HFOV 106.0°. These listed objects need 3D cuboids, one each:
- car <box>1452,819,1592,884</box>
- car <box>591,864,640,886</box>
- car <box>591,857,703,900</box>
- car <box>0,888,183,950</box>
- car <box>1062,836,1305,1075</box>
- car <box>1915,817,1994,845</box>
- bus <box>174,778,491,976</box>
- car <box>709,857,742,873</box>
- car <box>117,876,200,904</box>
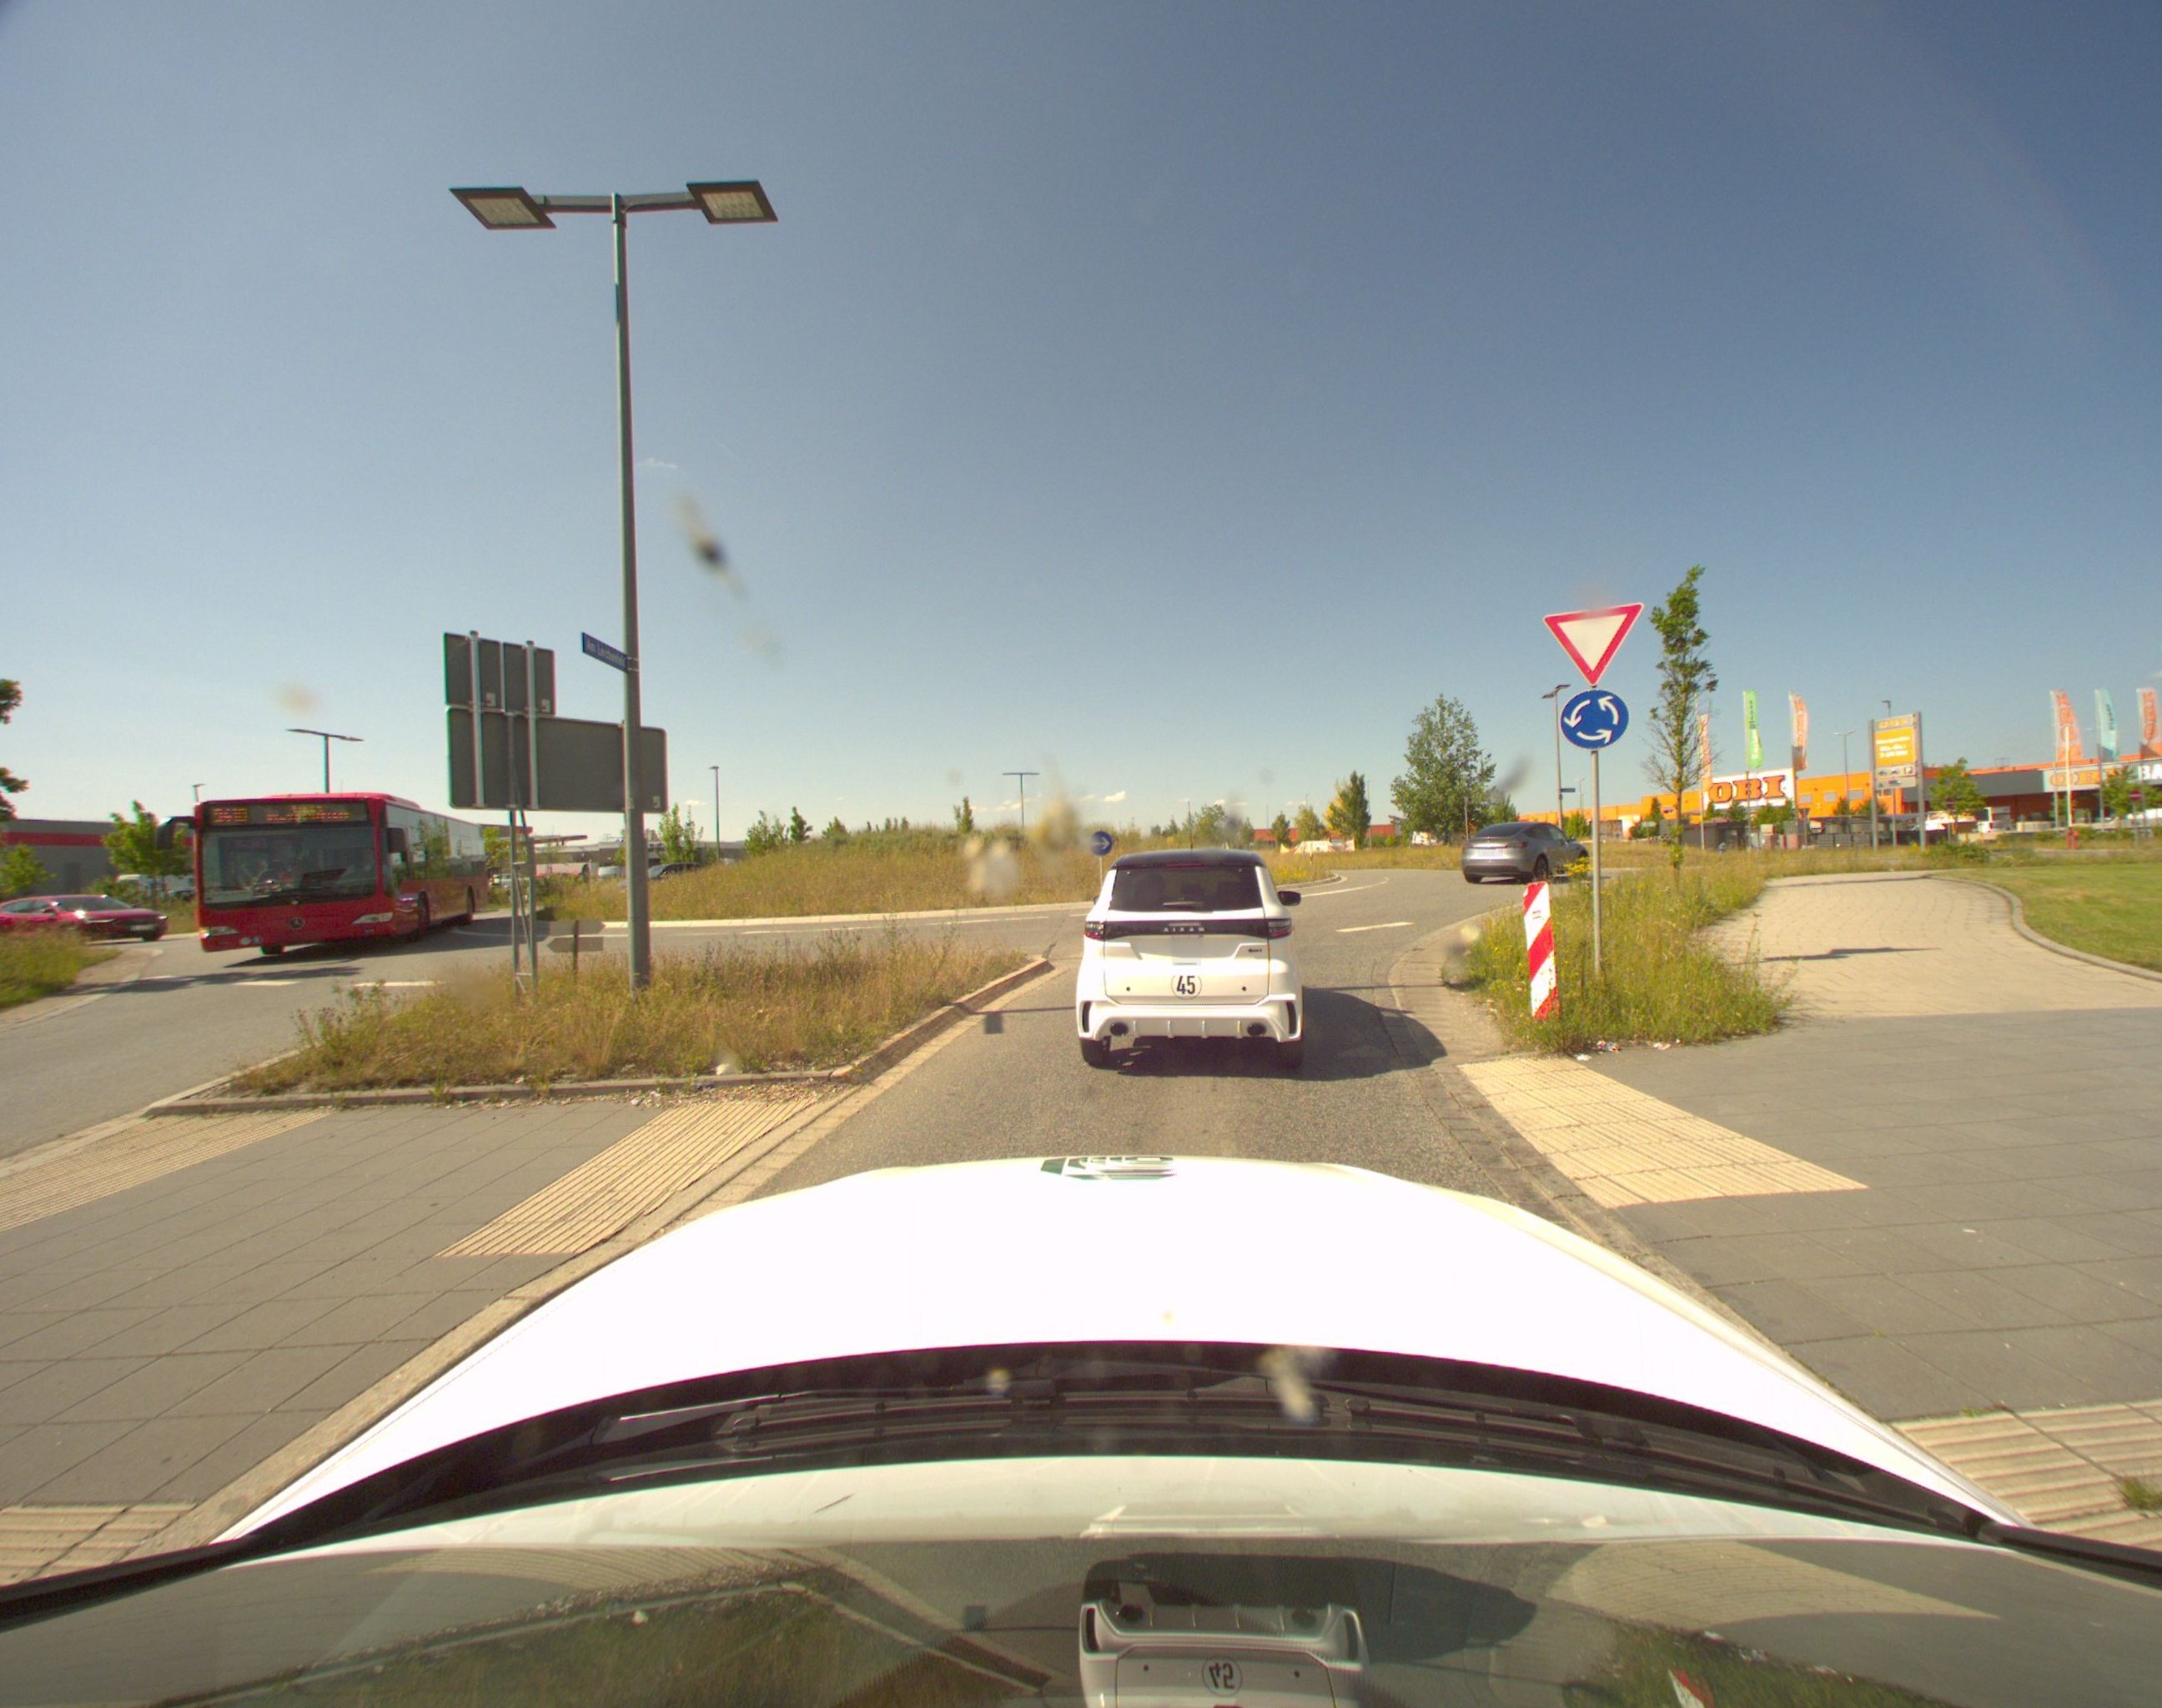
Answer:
[{"bbox_3d":[11.971,-0.102,22.000,4.188,1.584,1.810,-2,0,-39],"label":"car"},{"bbox_3d":[-45.918,2.042,80.469,1.988,2.014,5.132,-2,-1,-2],"label":"car"},{"bbox_3d":[-19.650,1.100,36.983,4.104,1.635,1.834,-4,1,-44],"label":"car"},{"bbox_3d":[-28.436,1.843,23.146,4.082,1.416,1.812,-4,-1,7],"label":"car"},{"bbox_3d":[0.968,0.613,6.839,1.499,1.440,3.362,-1,2,11],"label":"car"},{"bbox_3d":[59.262,-1.576,55.273,3.756,1.841,1.697,0,-1,-5],"label":"car"},{"bbox_3d":[-16.532,0.383,19.225,2.625,3.241,11.770,-4,1,-29],"label":"bus"},{"bbox_3d":[-41.547,1.309,95.258,1.987,1.732,3.999,-2,-1,0],"label":"car"},{"bbox_3d":[-72.708,2.816,64.282,1.989,2.013,3.996,-2,0,-3],"label":"car"}]
